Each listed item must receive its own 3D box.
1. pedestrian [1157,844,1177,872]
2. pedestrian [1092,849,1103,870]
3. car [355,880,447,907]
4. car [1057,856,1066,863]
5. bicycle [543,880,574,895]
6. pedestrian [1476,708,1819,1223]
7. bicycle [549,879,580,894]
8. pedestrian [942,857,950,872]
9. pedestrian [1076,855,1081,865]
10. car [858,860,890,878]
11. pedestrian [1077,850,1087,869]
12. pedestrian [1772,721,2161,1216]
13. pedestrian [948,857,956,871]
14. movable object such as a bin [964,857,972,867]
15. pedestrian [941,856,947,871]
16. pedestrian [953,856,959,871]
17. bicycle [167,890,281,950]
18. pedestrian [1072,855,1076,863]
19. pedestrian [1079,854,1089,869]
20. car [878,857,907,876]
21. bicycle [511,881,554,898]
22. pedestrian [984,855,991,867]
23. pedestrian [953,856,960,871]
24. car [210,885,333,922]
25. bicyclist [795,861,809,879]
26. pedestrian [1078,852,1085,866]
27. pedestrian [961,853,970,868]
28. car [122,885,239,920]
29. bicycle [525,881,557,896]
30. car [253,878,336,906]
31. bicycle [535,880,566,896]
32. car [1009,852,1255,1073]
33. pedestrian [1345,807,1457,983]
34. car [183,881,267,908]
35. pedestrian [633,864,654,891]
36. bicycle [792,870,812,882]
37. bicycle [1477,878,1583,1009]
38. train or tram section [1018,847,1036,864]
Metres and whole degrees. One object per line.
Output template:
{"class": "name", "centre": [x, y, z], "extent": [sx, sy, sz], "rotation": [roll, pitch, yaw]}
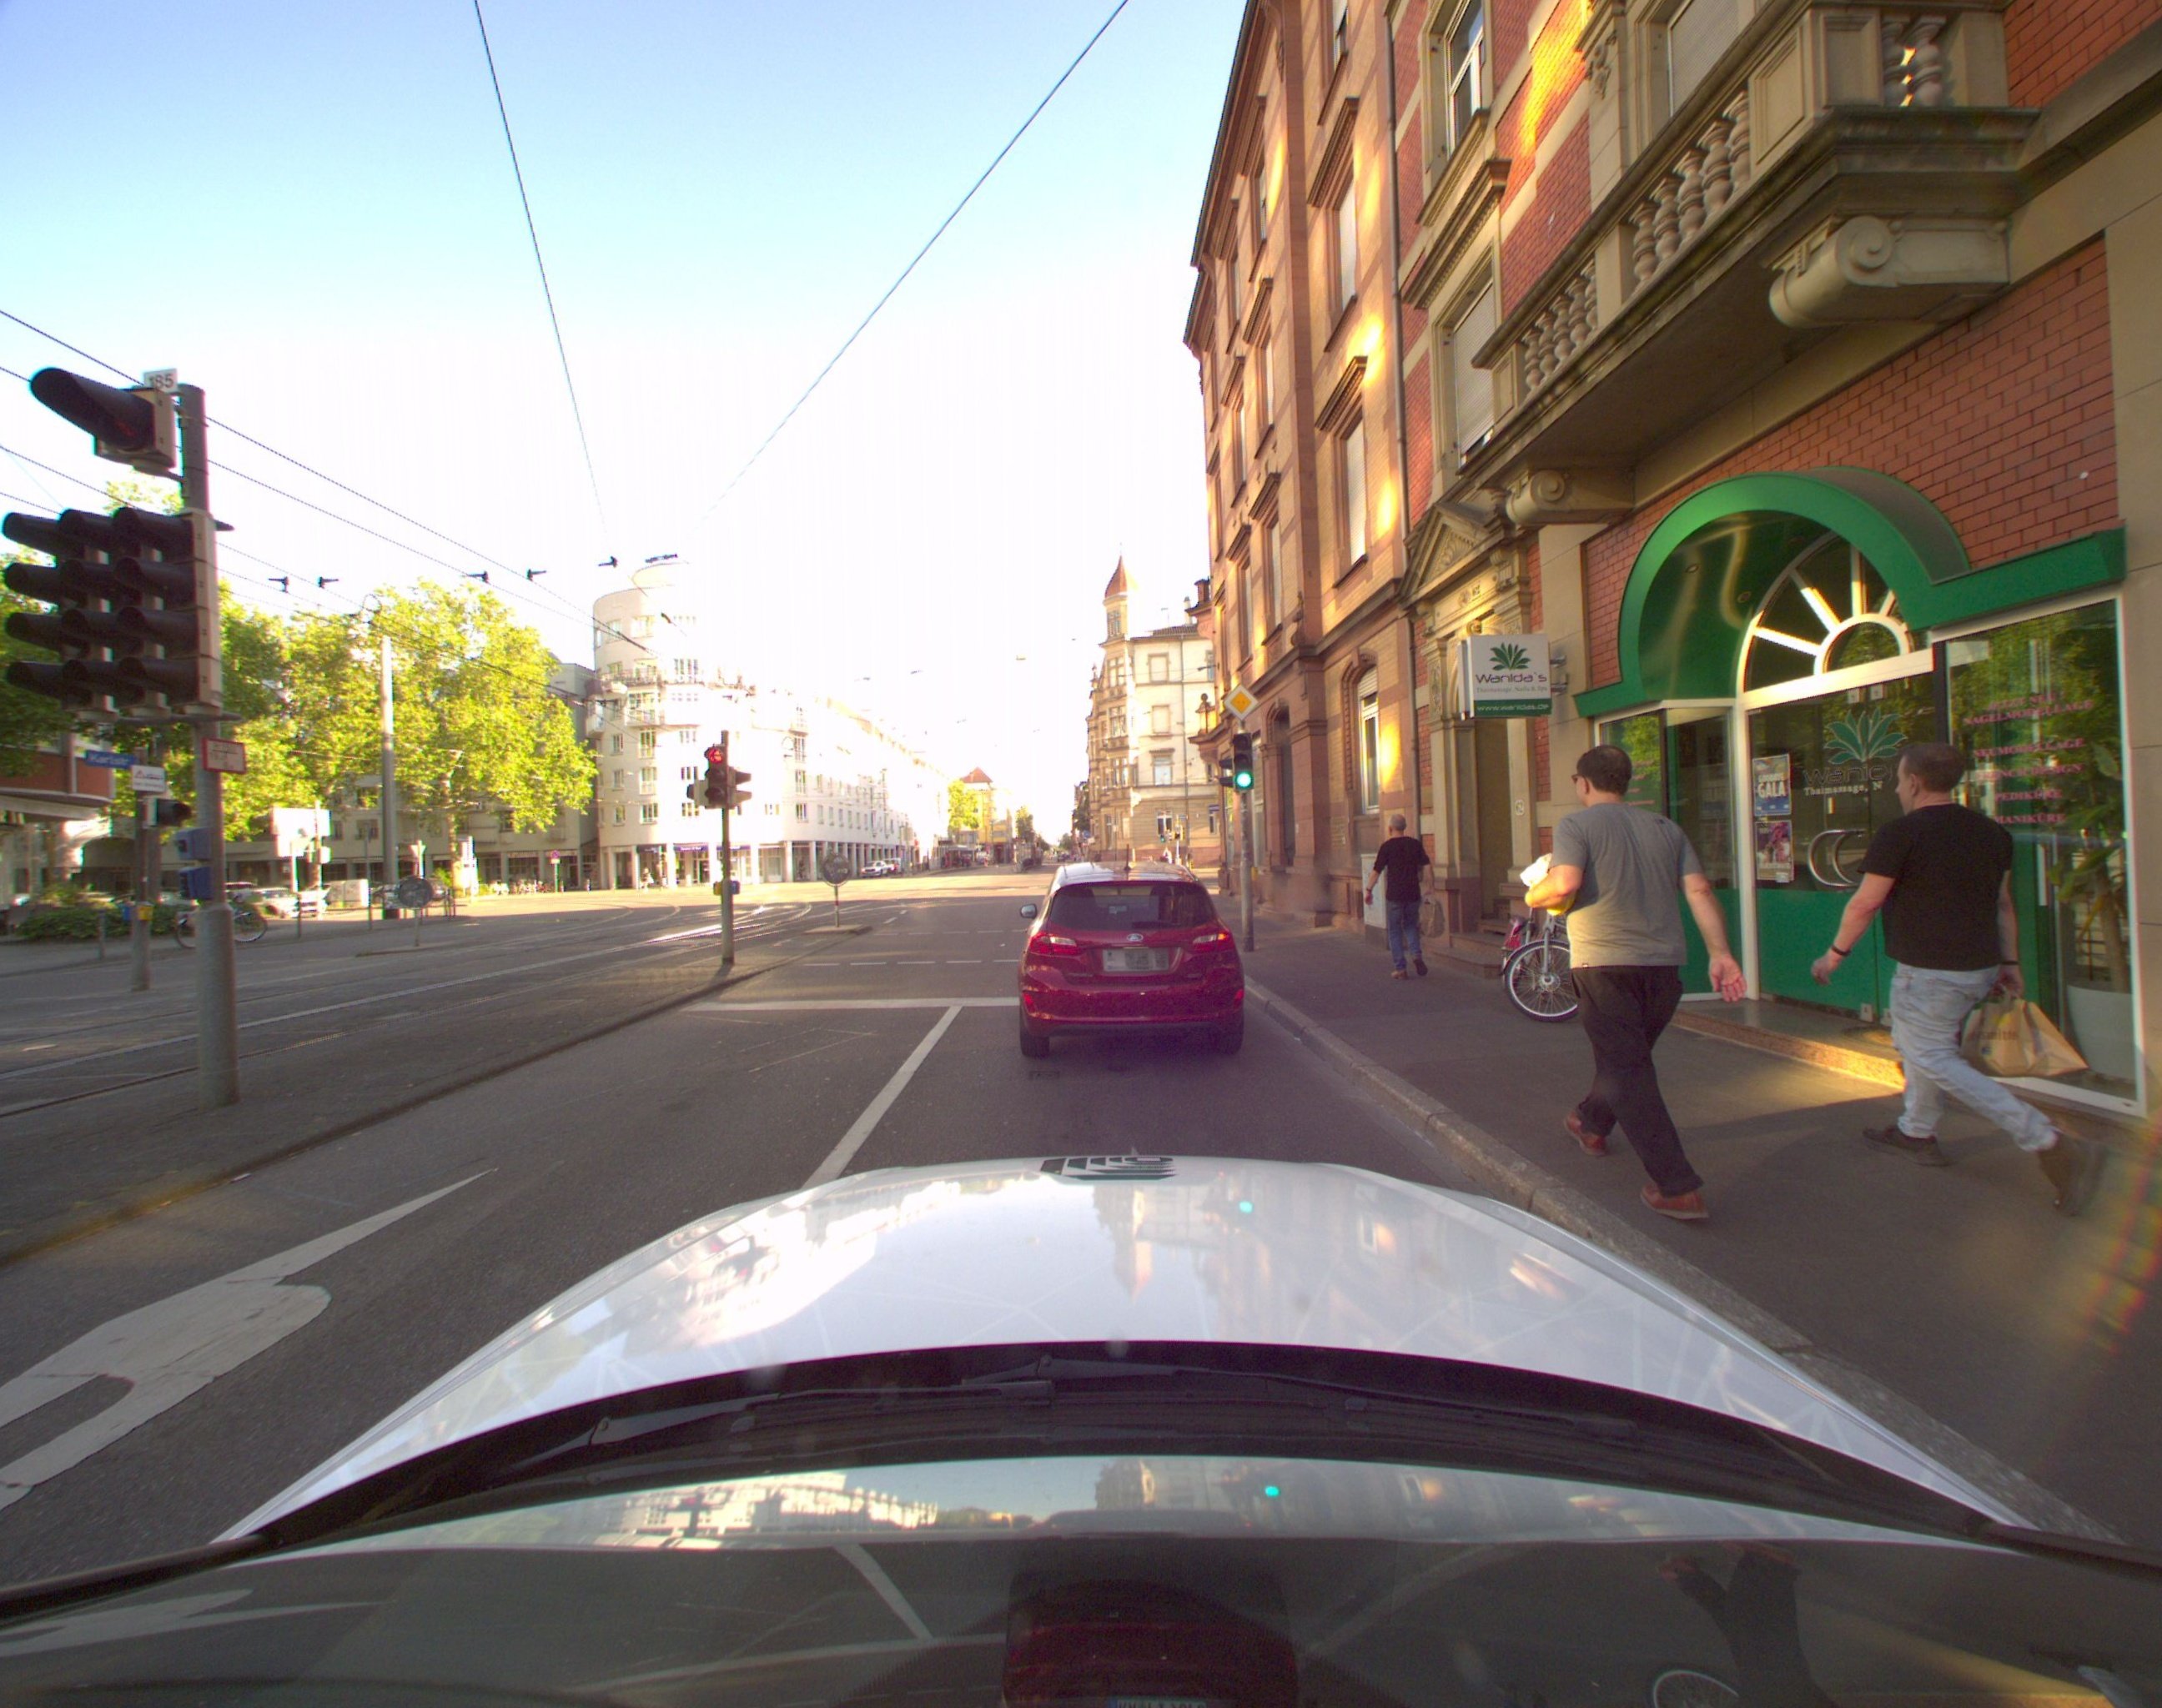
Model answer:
{"class": "pedestrian", "centre": [5.696, 0.264, 54.021], "extent": [1.021, 1.807, 1.081], "rotation": [-2, 0, -5]}
{"class": "pedestrian", "centre": [1.494, 0.451, 72.536], "extent": [0.799, 1.824, 0.797], "rotation": [-4, 0, -2]}
{"class": "car", "centre": [-44.581, 2.574, 53.455], "extent": [4.423, 1.421, 1.892], "rotation": [-3, 0, 2]}
{"class": "car", "centre": [-4.425, 1.181, 181.895], "extent": [1.988, 1.449, 3.998], "rotation": [-2, 0, -1]}
{"class": "bicycle", "centre": [-41.963, 2.666, 65.453], "extent": [1.935, 1.107, 0.819], "rotation": [-2, 0, 1]}
{"class": "pedestrian", "centre": [2.325, 0.417, 3.454], "extent": [0.819, 1.894, 0.754], "rotation": [-3, 0, -1]}
{"class": "bicycle", "centre": [-42.049, 2.664, 66.318], "extent": [1.935, 1.107, 0.819], "rotation": [-2, 0, 1]}
{"class": "pedestrian", "centre": [-15.379, 1.209, 92.729], "extent": [0.756, 1.733, 0.523], "rotation": [-3, -1, 40]}
{"class": "pedestrian", "centre": [-0.426, 1.010, 138.832], "extent": [0.712, 1.774, 0.772], "rotation": [-5, 1, -5]}
{"class": "car", "centre": [-20.341, 1.452, 80.212], "extent": [1.988, 1.620, 4.507], "rotation": [-2, 0, -2]}
{"class": "pedestrian", "centre": [0.086, 0.513, 73.779], "extent": [0.714, 1.721, 0.797], "rotation": [-4, -1, 4]}
{"class": "pedestrian", "centre": [3.545, 0.405, 3.290], "extent": [0.773, 1.723, 0.754], "rotation": [-3, 0, -1]}
{"class": "pedestrian", "centre": [-15.357, 1.190, 96.847], "extent": [0.699, 1.691, 0.666], "rotation": [-2, -1, -25]}
{"class": "movable object such as a bin", "centre": [-15.153, 1.092, 109.232], "extent": [0.935, 1.286, 0.933], "rotation": [-2, -1, -4]}
{"class": "pedestrian", "centre": [-15.250, 1.034, 90.641], "extent": [0.597, 1.691, 0.613], "rotation": [-2, -1, -1]}
{"class": "pedestrian", "centre": [-15.530, 1.173, 101.214], "extent": [0.694, 1.904, 0.671], "rotation": [-2, -1, -4]}
{"class": "bicycle", "centre": [-19.806, 1.495, 18.875], "extent": [0.578, 1.235, 1.859], "rotation": [-1, 0, 4]}
{"class": "pedestrian", "centre": [-1.534, 1.127, 174.247], "extent": [0.748, 1.661, 0.650], "rotation": [0, -1, 1]}
{"class": "pedestrian", "centre": [0.256, 0.696, 72.820], "extent": [0.716, 1.331, 0.795], "rotation": [-4, -1, -3]}
{"class": "car", "centre": [-20.438, 1.332, 88.340], "extent": [1.988, 1.837, 5.343], "rotation": [-2, 0, -2]}
{"class": "bicycle", "centre": [-41.482, 2.661, 61.601], "extent": [2.440, 1.107, 0.933], "rotation": [-2, 0, -15]}
{"class": "pedestrian", "centre": [-14.743, 1.067, 128.740], "extent": [0.880, 1.904, 0.929], "rotation": [-2, -1, -17]}
{"class": "pedestrian", "centre": [-15.385, 1.165, 100.528], "extent": [0.694, 1.904, 0.671], "rotation": [-2, -1, -4]}
{"class": "car", "centre": [-36.278, 2.217, 36.527], "extent": [4.408, 1.421, 1.898], "rotation": [-3, 0, 15]}
{"class": "bicyclist", "centre": [-24.326, 1.406, 71.052], "extent": [0.837, 1.467, 0.897], "rotation": [-2, 0, 2]}
{"class": "pedestrian", "centre": [0.072, 0.655, 105.188], "extent": [0.712, 1.774, 0.772], "rotation": [-5, 1, -5]}
{"class": "pedestrian", "centre": [-14.541, 0.793, 102.686], "extent": [0.930, 1.904, 0.880], "rotation": [-2, -1, -4]}
{"class": "car", "centre": [-42.927, 2.308, 38.847], "extent": [4.408, 1.421, 1.898], "rotation": [-3, 0, 15]}
{"class": "bicycle", "centre": [-41.902, 2.677, 63.237], "extent": [1.934, 1.107, 0.820], "rotation": [-2, 0, 3]}
{"class": "car", "centre": [-53.355, 2.556, 55.354], "extent": [1.790, 1.715, 3.996], "rotation": [-2, 0, -3]}
{"class": "bicycle", "centre": [-41.837, 2.670, 64.226], "extent": [1.934, 1.107, 0.820], "rotation": [-2, 0, 3]}
{"class": "car", "centre": [0.352, 0.741, 7.384], "extent": [1.686, 1.495, 3.579], "rotation": [0, 0, 0]}
{"class": "pedestrian", "centre": [3.333, 0.411, 8.538], "extent": [0.773, 1.723, 0.754], "rotation": [-3, 0, -1]}
{"class": "car", "centre": [-60.692, 2.838, 57.843], "extent": [1.790, 1.715, 3.996], "rotation": [-2, 0, -3]}
{"class": "pedestrian", "centre": [-29.421, 1.569, 54.761], "extent": [0.863, 1.681, 0.698], "rotation": [-3, 1, 7]}
{"class": "bicycle", "centre": [-24.311, 1.930, 71.037], "extent": [0.837, 0.927, 2.266], "rotation": [-2, 0, 2]}
{"class": "bicycle", "centre": [3.903, 0.739, 7.157], "extent": [0.342, 0.996, 1.243], "rotation": [-3, 0, 8]}
{"class": "train or tram section", "centre": [-11.475, 0.306, 174.554], "extent": [2.876, 3.490, 14.166], "rotation": [-1, 0, 0]}
